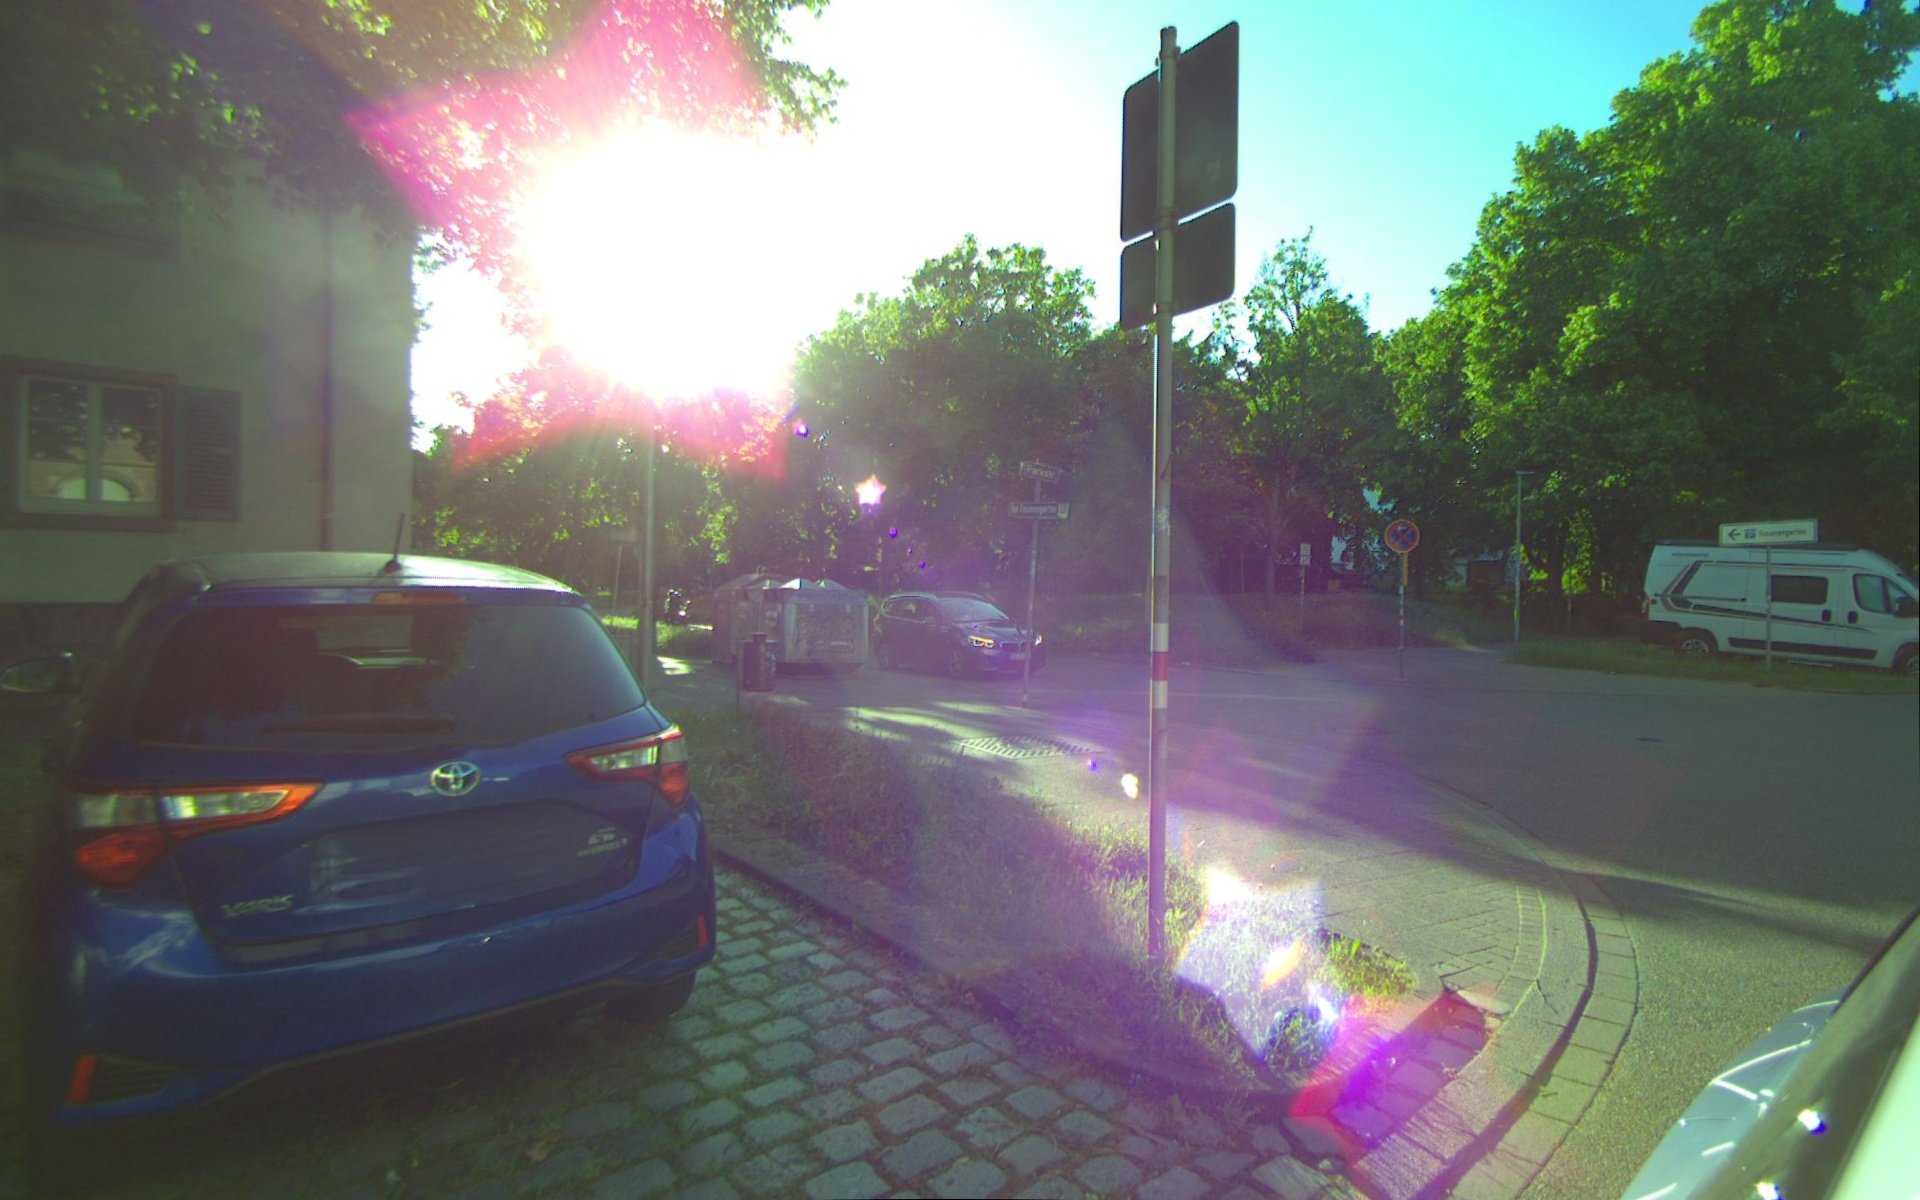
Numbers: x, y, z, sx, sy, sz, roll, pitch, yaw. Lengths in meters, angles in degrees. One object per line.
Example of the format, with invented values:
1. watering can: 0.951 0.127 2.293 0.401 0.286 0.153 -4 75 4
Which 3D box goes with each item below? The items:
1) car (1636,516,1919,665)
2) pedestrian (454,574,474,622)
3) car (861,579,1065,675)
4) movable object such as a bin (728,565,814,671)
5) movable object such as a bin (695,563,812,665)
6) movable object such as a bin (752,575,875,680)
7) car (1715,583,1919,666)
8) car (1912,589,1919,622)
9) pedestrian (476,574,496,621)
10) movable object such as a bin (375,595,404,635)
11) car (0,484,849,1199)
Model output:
1. car: 16.900 -0.215 19.892 2.200 2.646 5.624 -1 2 -40
2. pedestrian: -20.347 -0.105 41.540 0.632 1.917 1.019 -1 1 -32
3. car: -0.090 0.428 20.220 1.854 1.642 4.621 -1 2 -33
4. movable object such as a bin: -3.482 0.287 18.579 1.128 1.850 1.387 -1 1 -32
5. movable object such as a bin: -4.057 0.228 19.866 1.889 1.876 1.394 -1 1 -32
6. movable object such as a bin: -2.529 0.408 17.343 1.560 1.678 1.641 -1 1 -32
7. car: 18.937 0.469 21.545 1.944 1.594 4.294 -1 2 -40
8. car: 38.789 0.243 38.276 1.754 1.272 3.876 -1 2 -40
9. pedestrian: -19.706 -0.125 42.057 0.662 1.917 0.896 -1 1 -32
10. movable object such as a bin: -15.450 0.411 27.397 0.632 1.042 0.645 2 0 -33
11. car: -2.388 0.466 4.005 1.965 1.574 3.995 -1 3 -41
